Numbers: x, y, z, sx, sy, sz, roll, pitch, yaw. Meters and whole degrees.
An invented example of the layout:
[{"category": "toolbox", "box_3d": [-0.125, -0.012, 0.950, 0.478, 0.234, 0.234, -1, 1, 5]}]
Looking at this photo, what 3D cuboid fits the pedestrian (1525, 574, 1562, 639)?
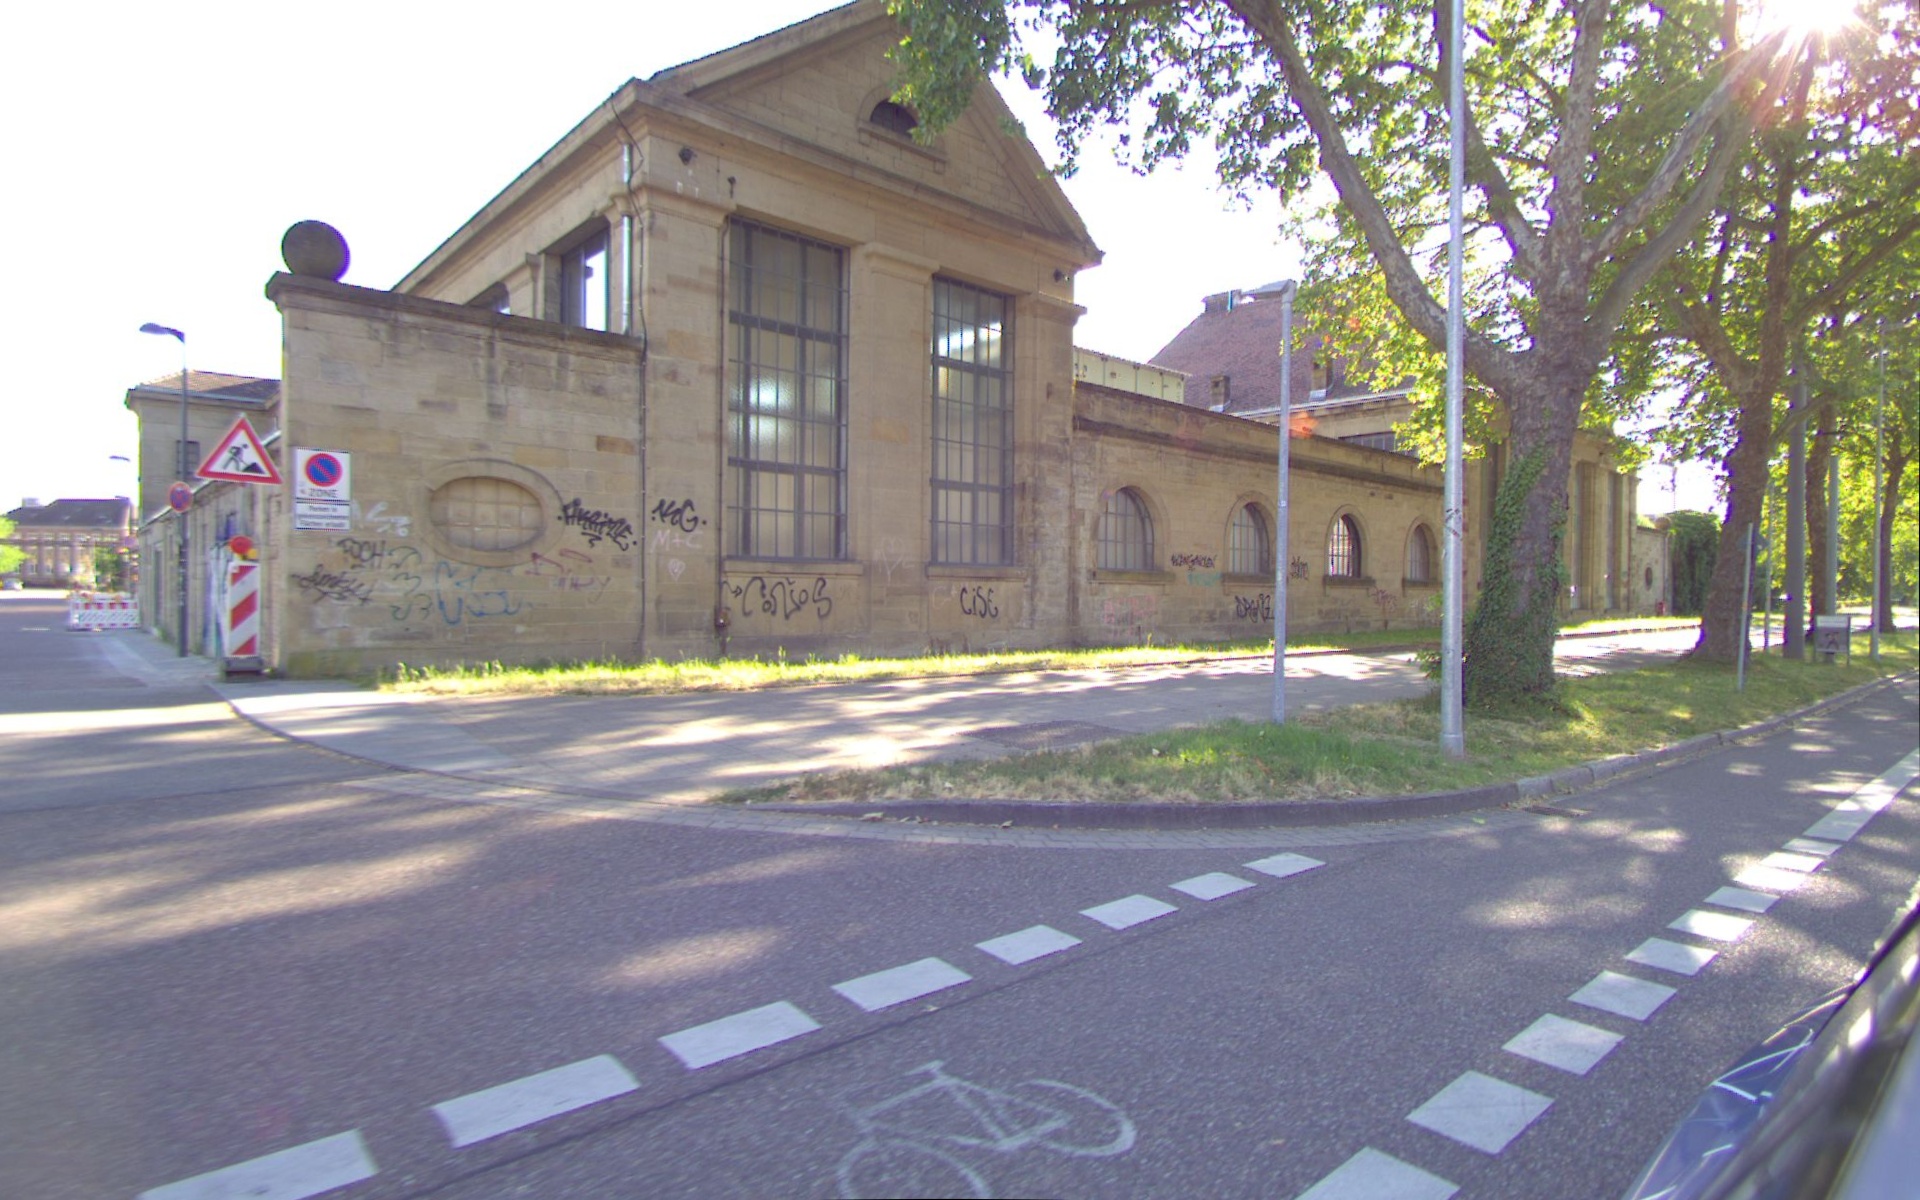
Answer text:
[{"category": "pedestrian", "box_3d": [16.032, 0.174, 27.790, 0.625, 1.702, 0.609, 0, 5, -44]}]
